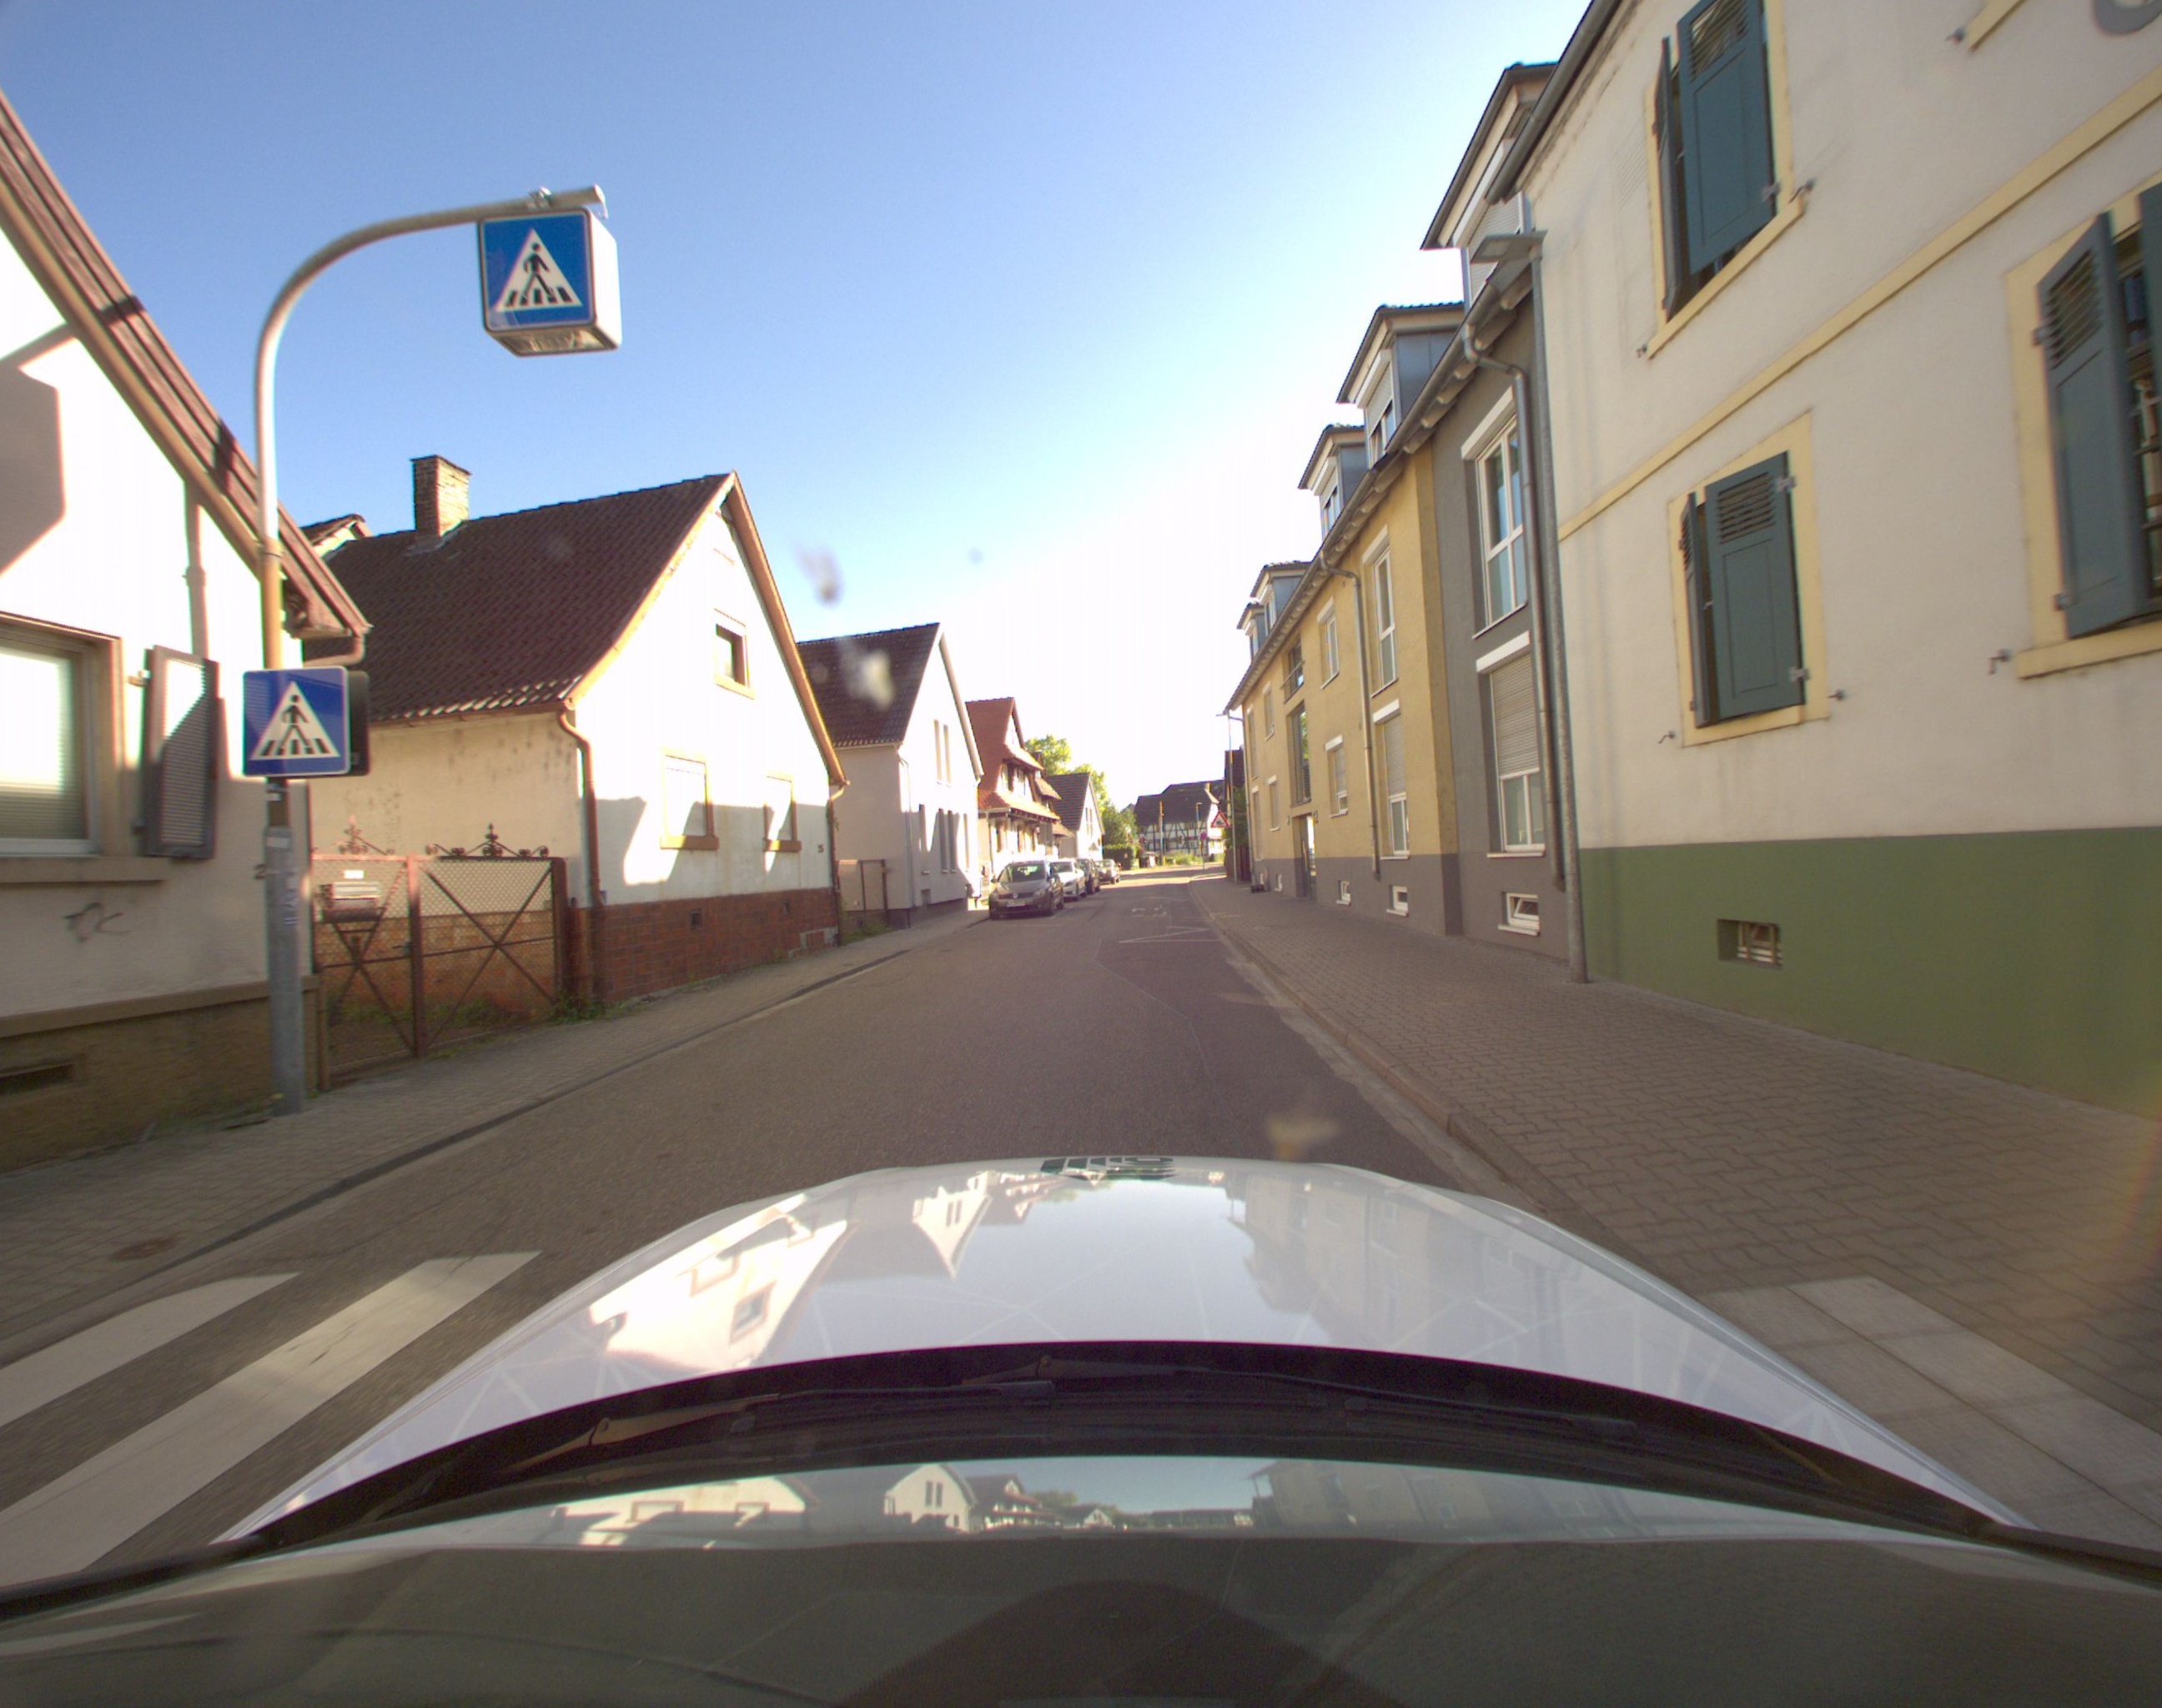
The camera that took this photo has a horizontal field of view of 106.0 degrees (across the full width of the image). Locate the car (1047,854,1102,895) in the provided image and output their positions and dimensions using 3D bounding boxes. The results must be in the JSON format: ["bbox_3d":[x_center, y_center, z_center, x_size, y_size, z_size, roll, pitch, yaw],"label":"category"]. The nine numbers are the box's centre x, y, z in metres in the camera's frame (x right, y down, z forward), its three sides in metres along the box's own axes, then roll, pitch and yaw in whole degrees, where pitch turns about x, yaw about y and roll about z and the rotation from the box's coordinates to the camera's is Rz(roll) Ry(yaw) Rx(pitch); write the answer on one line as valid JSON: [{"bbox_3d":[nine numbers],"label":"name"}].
[{"bbox_3d":[-0.206,0.872,35.913,1.774,1.604,4.370,-3,-1,7],"label":"car"}]

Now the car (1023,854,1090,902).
[{"bbox_3d":[-0.837,0.853,30.597,1.806,1.567,4.176,-3,-1,7],"label":"car"}]

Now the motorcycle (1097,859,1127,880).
[{"bbox_3d":[1.934,0.980,51.103,0.630,1.231,1.971,-4,0,-39],"label":"motorcycle"}]

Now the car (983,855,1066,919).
[{"bbox_3d":[-1.565,0.908,23.786,1.734,1.614,4.005,-3,-1,5],"label":"car"}]

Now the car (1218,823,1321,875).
[{"bbox_3d":[11.555,-0.303,50.262,5.779,2.655,1.969,-5,-2,3],"label":"car"}]

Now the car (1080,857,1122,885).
[{"bbox_3d":[1.210,0.949,47.389,1.835,1.406,5.047,-5,-1,7],"label":"car"}]
